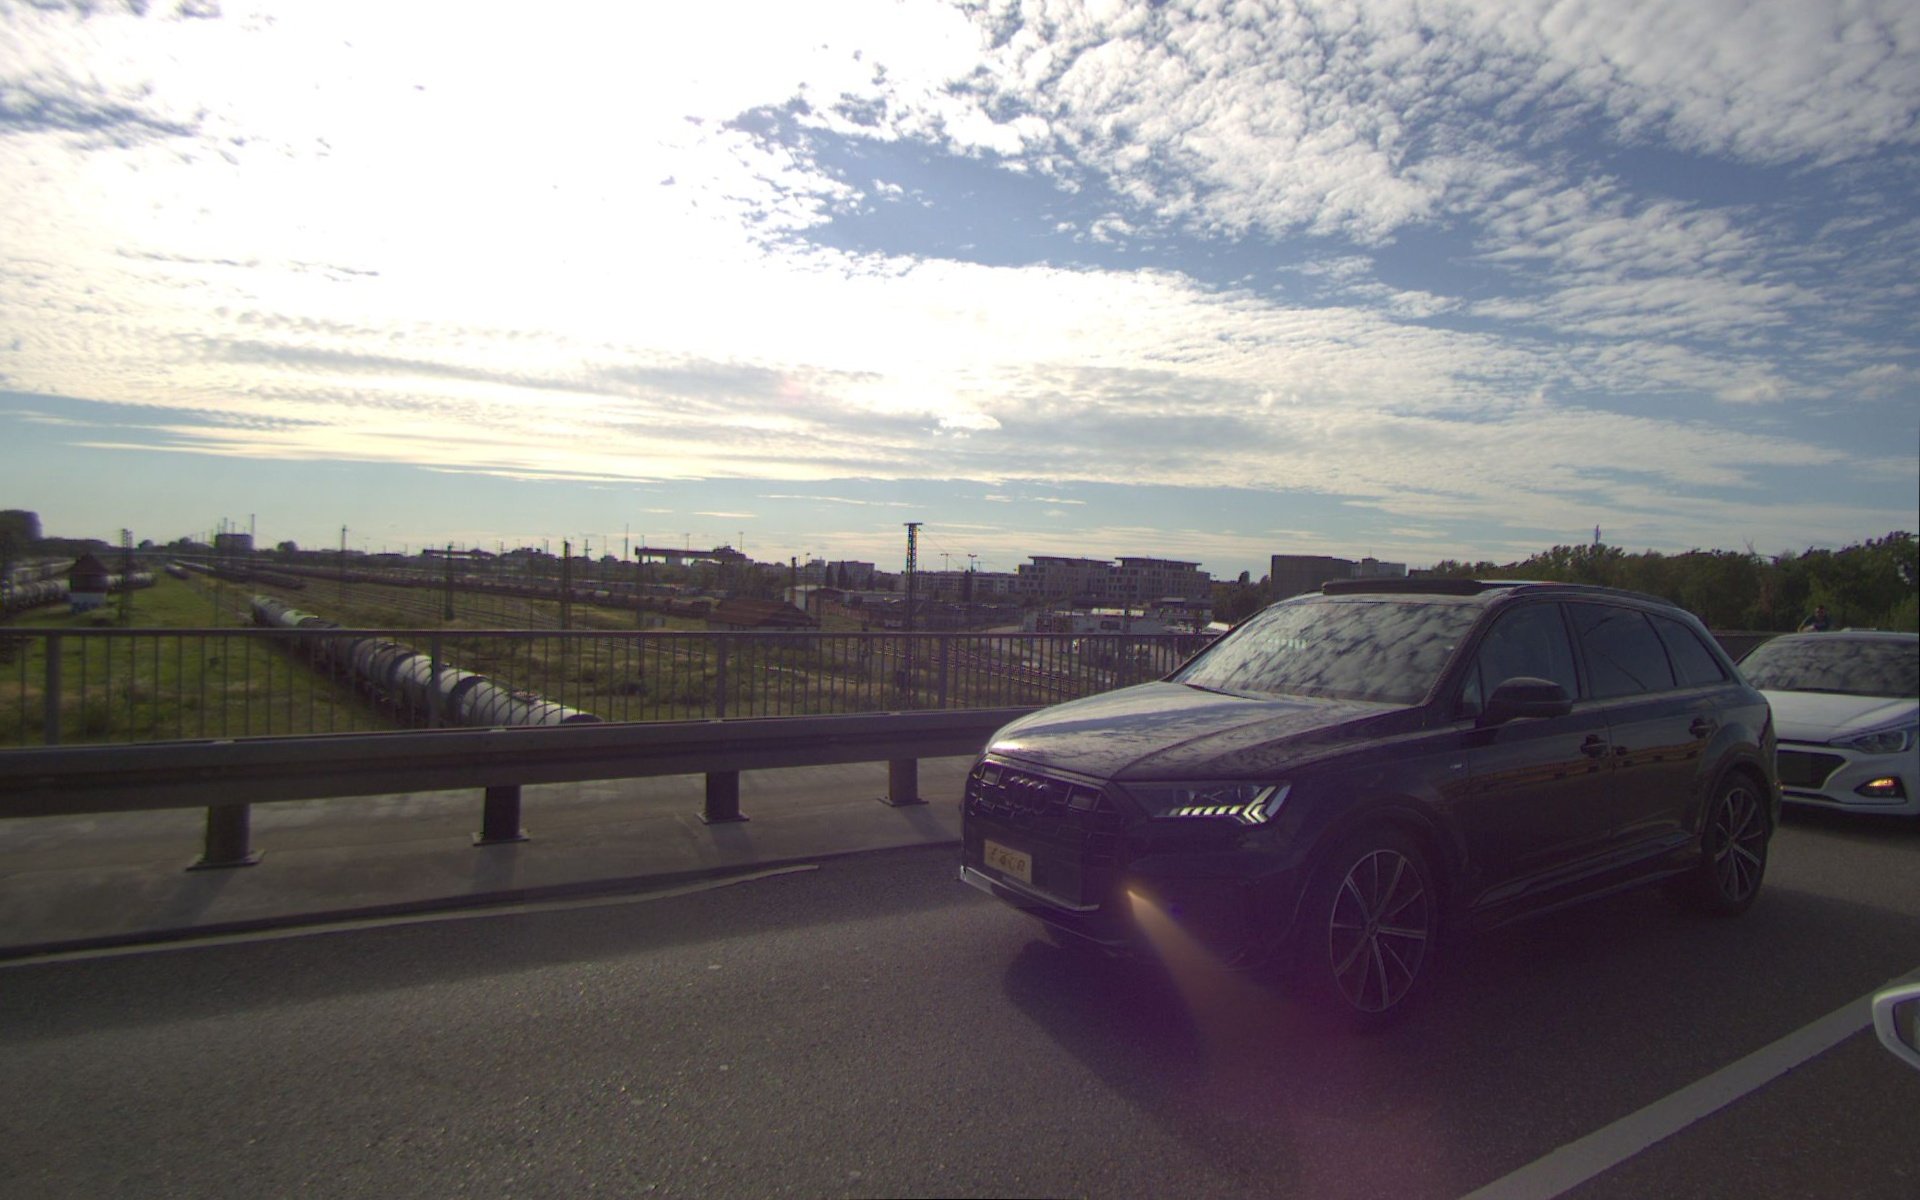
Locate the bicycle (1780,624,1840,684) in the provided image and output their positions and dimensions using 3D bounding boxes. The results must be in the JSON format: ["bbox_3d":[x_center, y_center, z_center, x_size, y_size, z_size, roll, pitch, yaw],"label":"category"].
[{"bbox_3d":[19.992,1.260,23.618,1.900,1.349,0.758,2,-1,-40],"label":"bicycle"}]

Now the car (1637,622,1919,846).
[{"bbox_3d":[7.781,0.978,8.767,4.034,1.521,1.730,1,-1,-34],"label":"car"}]

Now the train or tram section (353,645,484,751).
[{"bbox_3d":[-31.637,5.293,58.027,3.073,4.775,16.548,2,-1,-41],"label":"train or tram section"}]

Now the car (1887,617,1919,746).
[{"bbox_3d":[14.221,1.077,13.479,4.270,1.631,1.741,1,-1,-35],"label":"car"}]

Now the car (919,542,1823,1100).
[{"bbox_3d":[2.326,0.728,5.117,4.812,1.694,1.819,1,-1,-32],"label":"car"}]

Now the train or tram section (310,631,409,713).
[{"bbox_3d":[-42.438,4.760,70.550,3.073,4.775,16.548,2,-1,-41],"label":"train or tram section"}]

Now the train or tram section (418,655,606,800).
[{"bbox_3d":[-20.790,5.271,45.527,3.073,4.775,16.548,2,-1,-41],"label":"train or tram section"}]

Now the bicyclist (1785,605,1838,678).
[{"bbox_3d":[20.080,0.964,23.689,1.111,1.682,0.760,2,-1,-40],"label":"bicyclist"}]

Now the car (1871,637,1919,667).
[{"bbox_3d":[50.505,2.768,53.803,1.715,1.521,4.069,0,-1,31],"label":"car"}]

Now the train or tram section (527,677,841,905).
[{"bbox_3d":[-9.905,5.464,33.045,3.073,4.775,16.548,2,-1,-41],"label":"train or tram section"}]

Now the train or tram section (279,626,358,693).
[{"bbox_3d":[-53.231,4.693,83.013,3.073,4.775,16.548,2,-1,-41],"label":"train or tram section"}]
